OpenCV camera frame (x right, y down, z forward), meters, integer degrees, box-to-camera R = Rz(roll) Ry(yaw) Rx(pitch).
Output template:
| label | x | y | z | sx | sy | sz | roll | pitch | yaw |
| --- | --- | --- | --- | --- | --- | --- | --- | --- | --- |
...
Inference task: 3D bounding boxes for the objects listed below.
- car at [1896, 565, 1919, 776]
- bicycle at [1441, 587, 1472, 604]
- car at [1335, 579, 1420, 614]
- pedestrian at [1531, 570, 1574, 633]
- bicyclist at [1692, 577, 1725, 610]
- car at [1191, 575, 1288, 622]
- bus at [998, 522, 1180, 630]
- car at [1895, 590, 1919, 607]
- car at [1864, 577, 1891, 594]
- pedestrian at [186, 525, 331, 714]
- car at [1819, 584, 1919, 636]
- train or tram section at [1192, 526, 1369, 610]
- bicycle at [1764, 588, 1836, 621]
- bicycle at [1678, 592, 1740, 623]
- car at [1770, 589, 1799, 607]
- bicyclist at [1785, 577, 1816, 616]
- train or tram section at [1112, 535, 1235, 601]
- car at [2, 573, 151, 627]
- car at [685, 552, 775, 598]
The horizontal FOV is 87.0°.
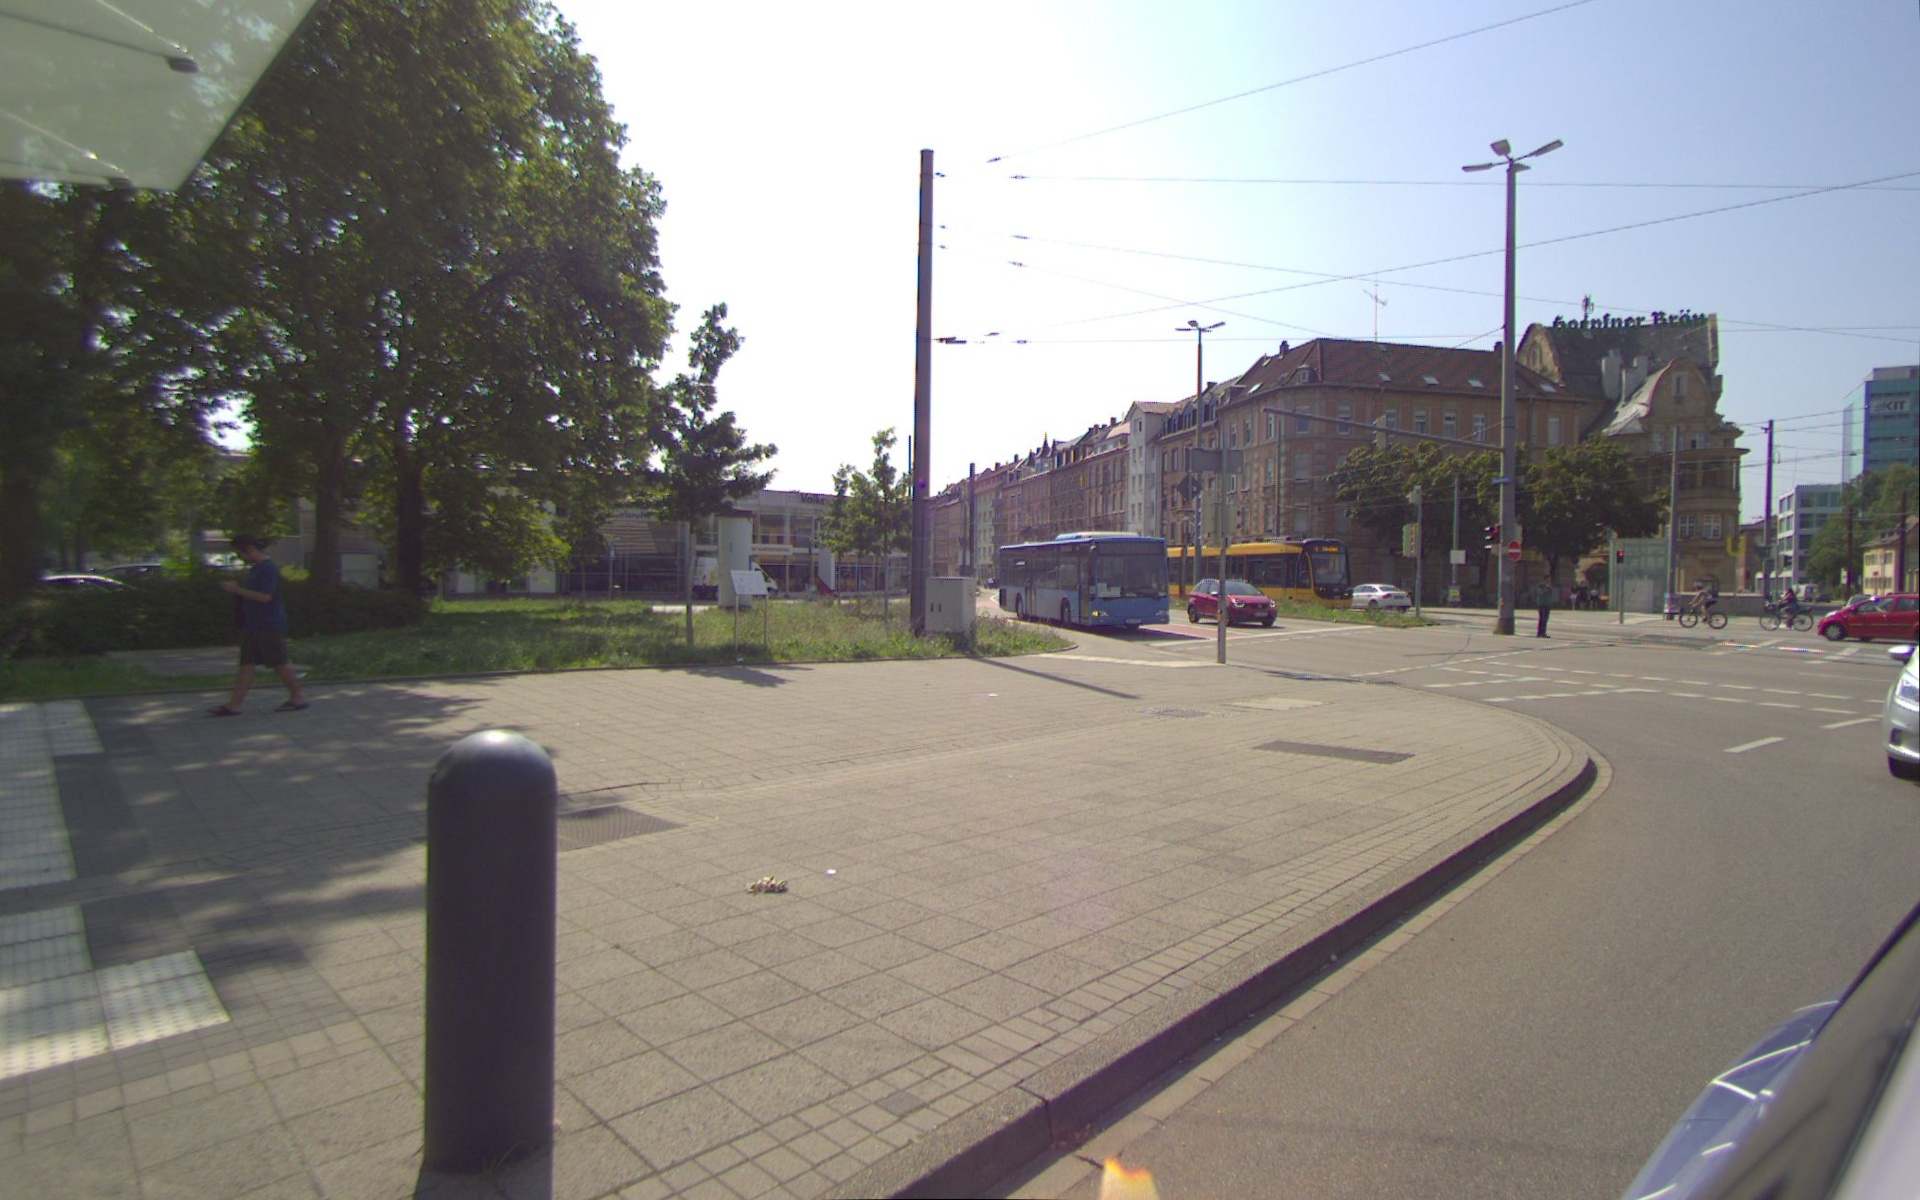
| label | x | y | z | sx | sy | sz | roll | pitch | yaw |
| --- | --- | --- | --- | --- | --- | --- | --- | --- | --- |
| car | 9.501 | 0.540 | 8.455 | 4.280 | 1.615 | 1.692 | -1 | 2 | -37 |
| bicycle | 28.868 | -0.254 | 58.840 | 1.751 | 0.969 | 0.463 | 0 | 1 | -18 |
| car | 21.524 | -0.213 | 52.346 | 1.735 | 1.638 | 4.613 | 0 | 1 | -12 |
| pedestrian | 16.521 | 0.030 | 28.250 | 0.709 | 1.708 | 0.801 | 4 | 2 | 14 |
| bicyclist | 29.092 | -0.276 | 39.316 | 1.084 | 1.249 | 0.862 | 0 | 2 | -44 |
| car | 9.452 | -0.090 | 34.479 | 1.596 | 1.490 | 3.779 | 0 | 1 | -12 |
| bus | 4.002 | -0.843 | 35.488 | 2.677 | 3.102 | 12.106 | 1 | 1 | -11 |
| car | 102.406 | -0.117 | 108.972 | 1.989 | 1.705 | 3.947 | 2 | 0 | 36 |
| car | 112.341 | -1.778 | 123.902 | 1.989 | 1.928 | 3.947 | 2 | 0 | 36 |
| pedestrian | -6.444 | 0.144 | 9.307 | 0.790 | 1.628 | 0.935 | 2 | 3 | 43 |
| car | 27.348 | 0.286 | 29.368 | 1.485 | 1.426 | 3.367 | 1 | 1 | -19 |
| train or tram section | 15.330 | -1.580 | 50.061 | 2.541 | 3.604 | 12.244 | 0 | 2 | -12 |
| bicycle | 32.680 | 0.161 | 39.406 | 0.432 | 1.125 | 2.133 | 1 | 3 | -24 |
| bicycle | 29.011 | 0.272 | 39.210 | 0.701 | 1.125 | 1.851 | 0 | 2 | -44 |
| car | 70.016 | -0.162 | 85.973 | 1.364 | 1.415 | 3.219 | 2 | 0 | 31 |
| bicyclist | 32.692 | -0.136 | 39.381 | 0.644 | 1.499 | 0.646 | 1 | 3 | -24 |
| train or tram section | 12.738 | -1.957 | 62.022 | 2.541 | 3.604 | 12.244 | 0 | 2 | -12 |
| car | -25.823 | -0.038 | 29.636 | 3.237 | 1.479 | 1.611 | -1 | 2 | -44 |
| car | -14.196 | -1.533 | 62.688 | 5.131 | 2.617 | 1.844 | 2 | 0 | -45 |
